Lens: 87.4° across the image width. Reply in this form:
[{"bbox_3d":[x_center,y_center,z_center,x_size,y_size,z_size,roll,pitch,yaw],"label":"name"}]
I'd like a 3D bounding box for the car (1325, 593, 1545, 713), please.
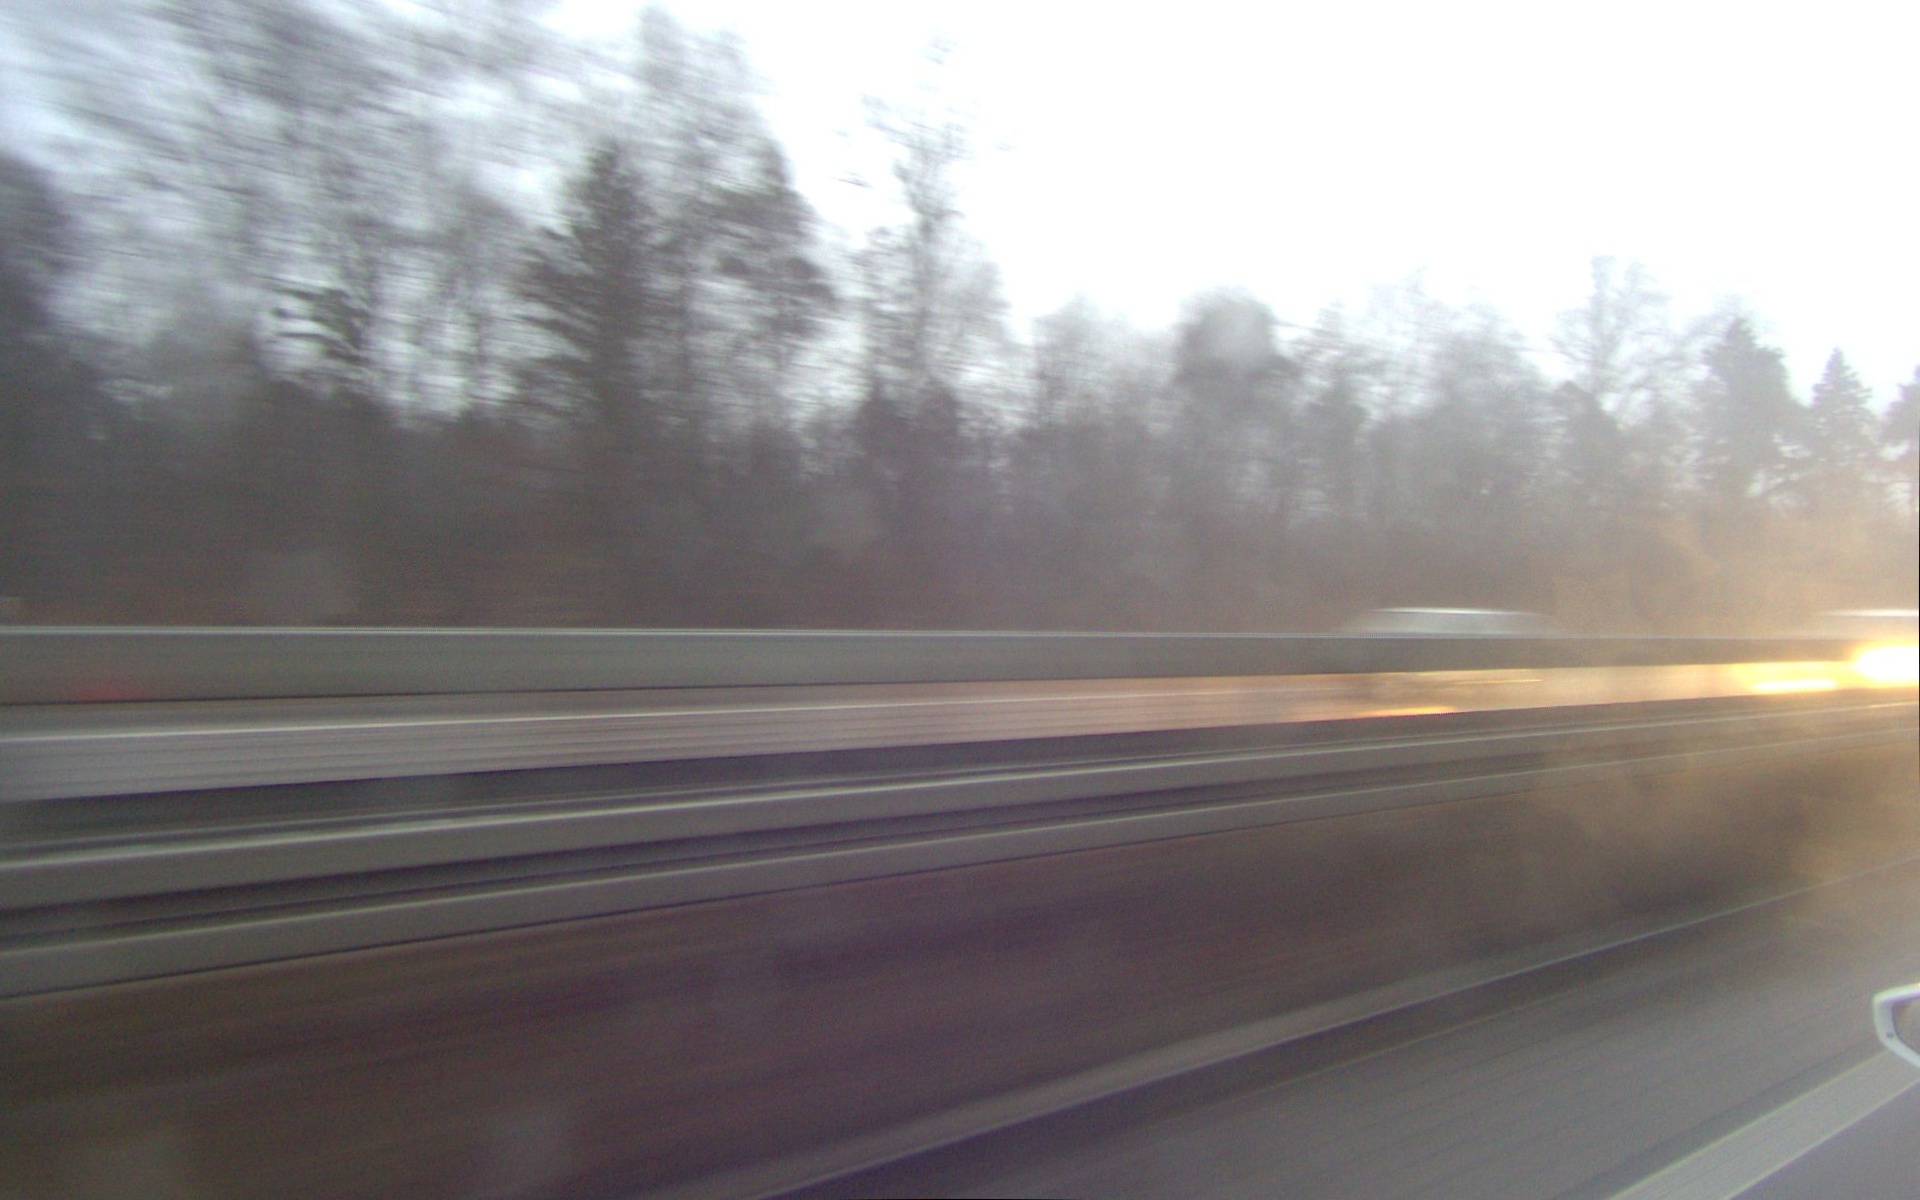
[{"bbox_3d":[8.347,0.874,17.575,3.853,1.891,1.622,1,0,-31],"label":"car"}]

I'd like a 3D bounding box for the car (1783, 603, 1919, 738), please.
[{"bbox_3d":[16.561,1.158,17.732,4.467,2.115,1.714,1,0,-31],"label":"car"}]
